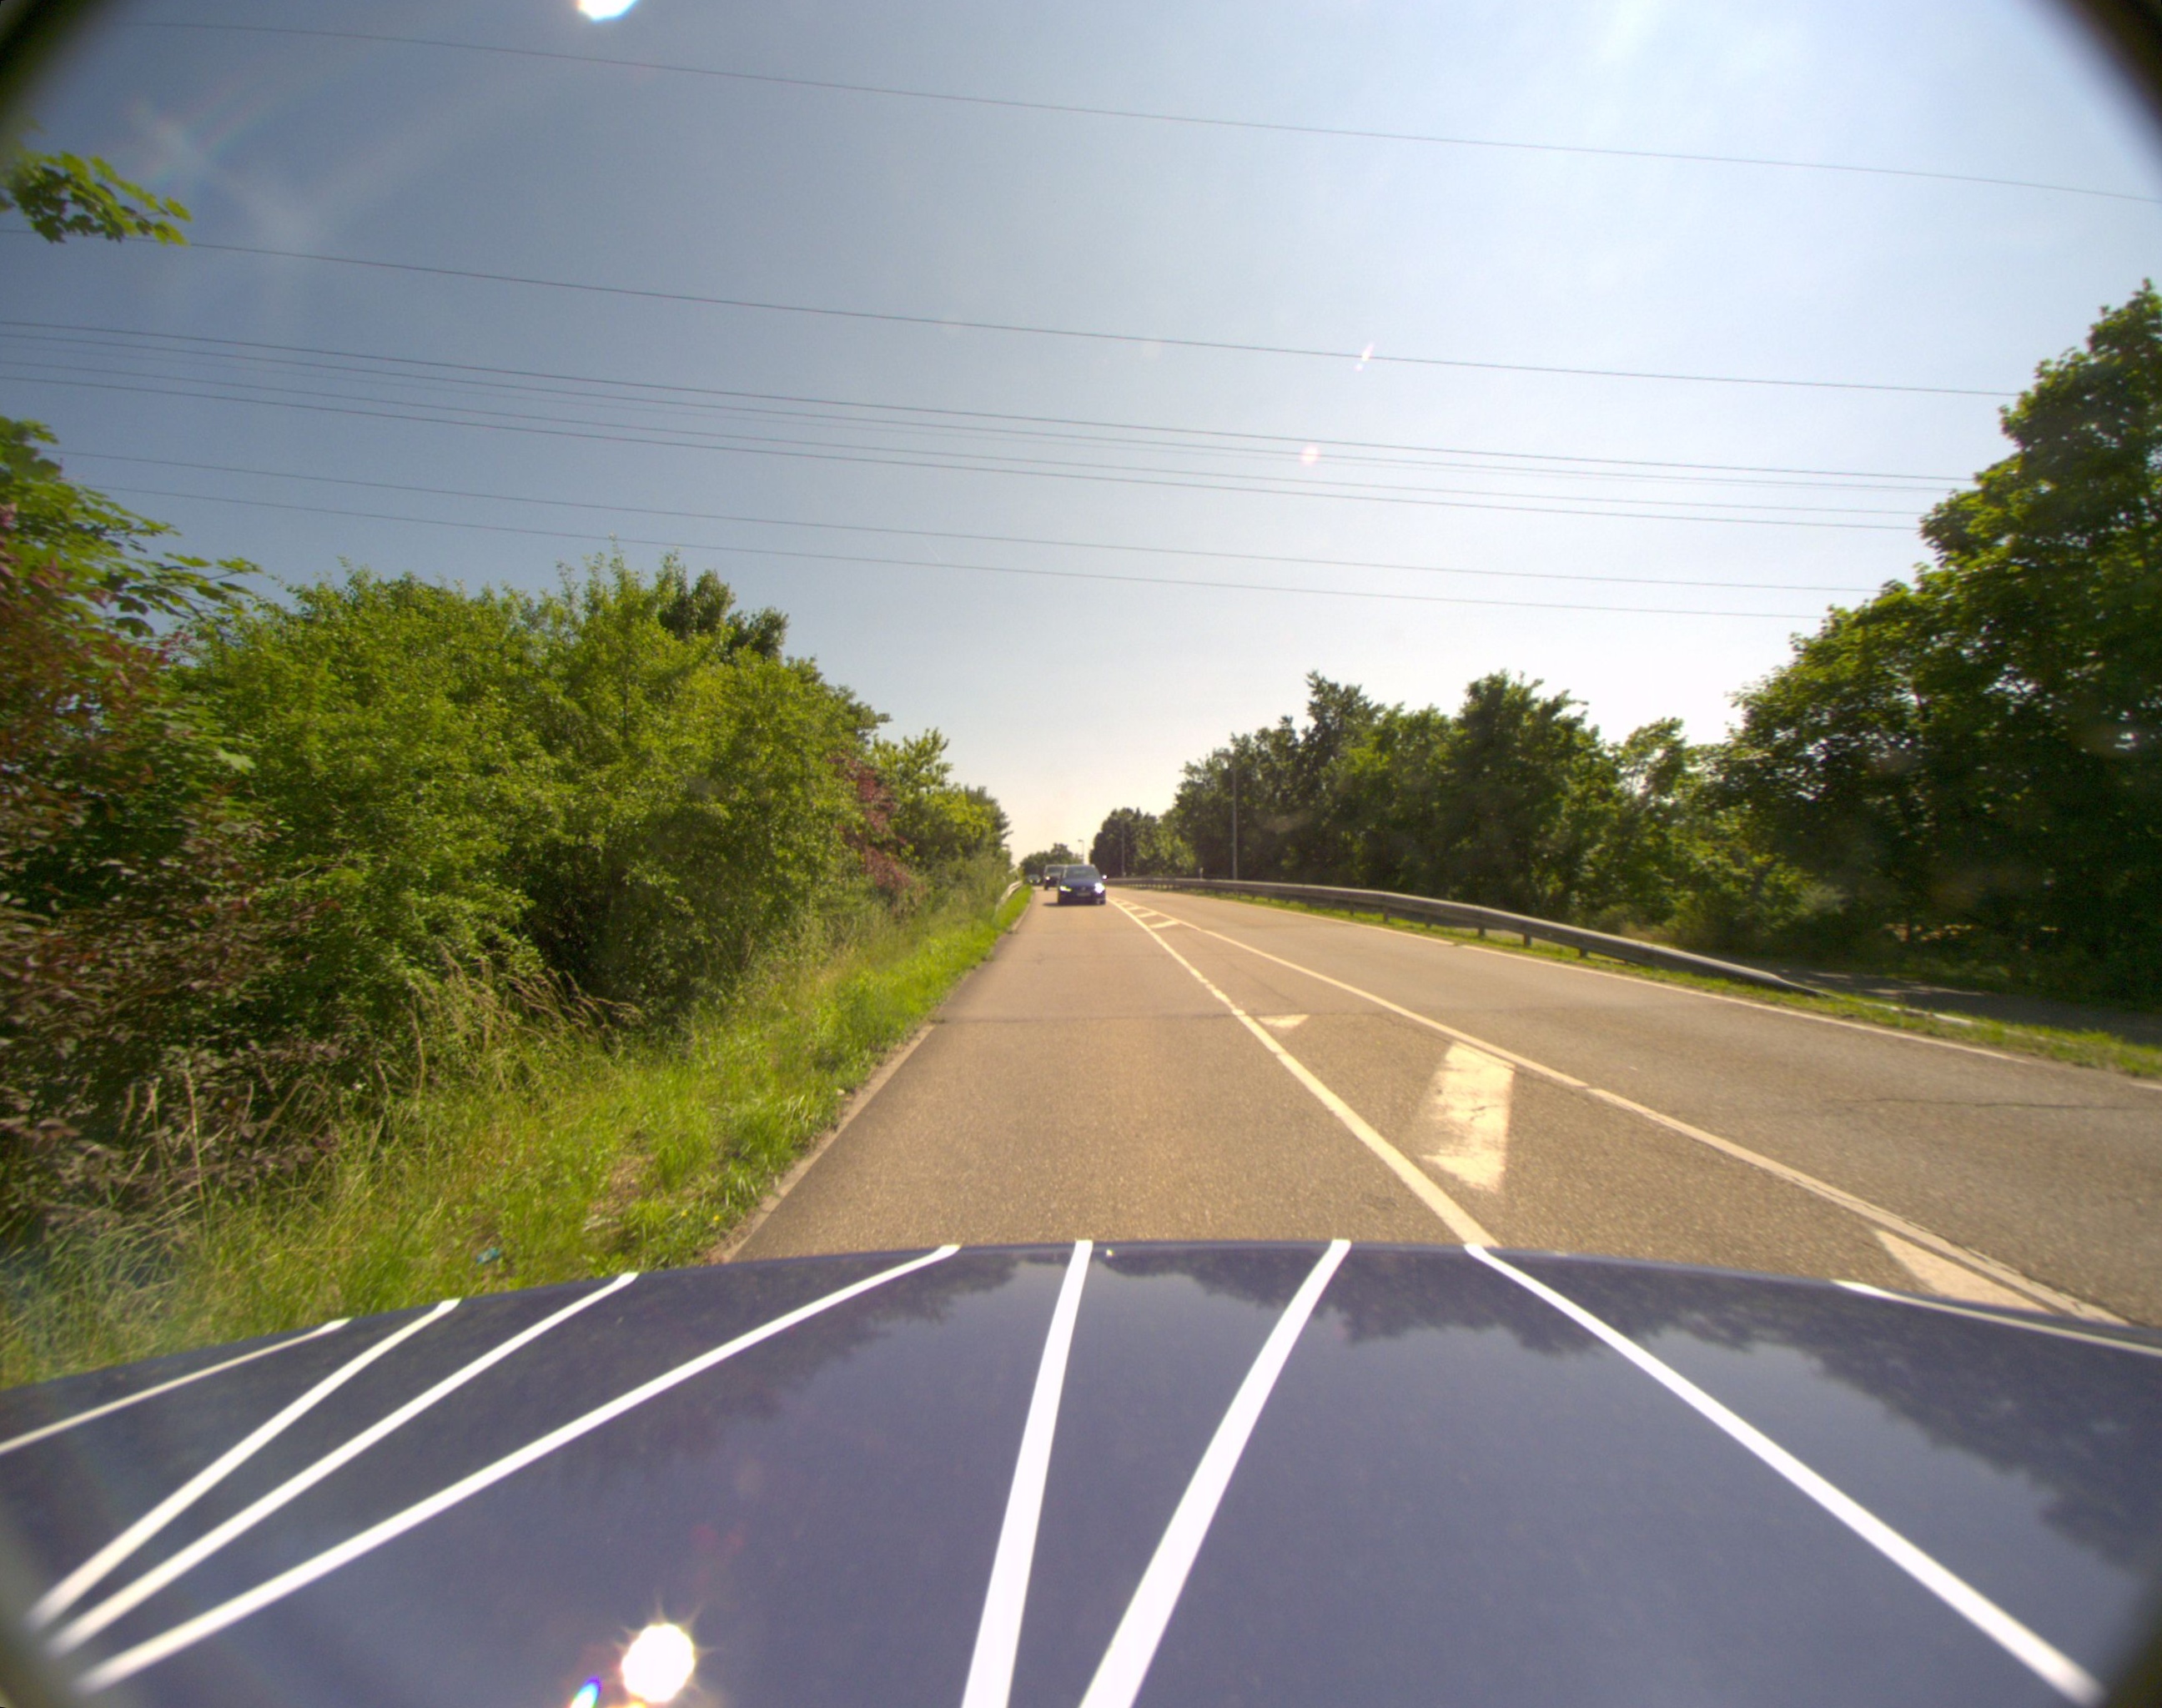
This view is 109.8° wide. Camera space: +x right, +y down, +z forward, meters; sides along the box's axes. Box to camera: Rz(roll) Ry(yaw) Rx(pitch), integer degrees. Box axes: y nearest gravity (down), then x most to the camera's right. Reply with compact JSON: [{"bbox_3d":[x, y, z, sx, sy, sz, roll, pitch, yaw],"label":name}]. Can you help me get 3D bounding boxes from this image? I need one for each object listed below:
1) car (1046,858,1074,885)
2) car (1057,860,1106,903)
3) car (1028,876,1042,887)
[{"bbox_3d":[-1.675,1.385,59.010,1.765,1.953,4.260,-2,-1,-6],"label":"car"},{"bbox_3d":[-0.046,1.060,30.334,1.765,1.519,4.423,-2,-1,-2],"label":"car"},{"bbox_3d":[-6.604,3.903,108.466,1.765,1.529,3.683,-1,-1,-7],"label":"car"}]
